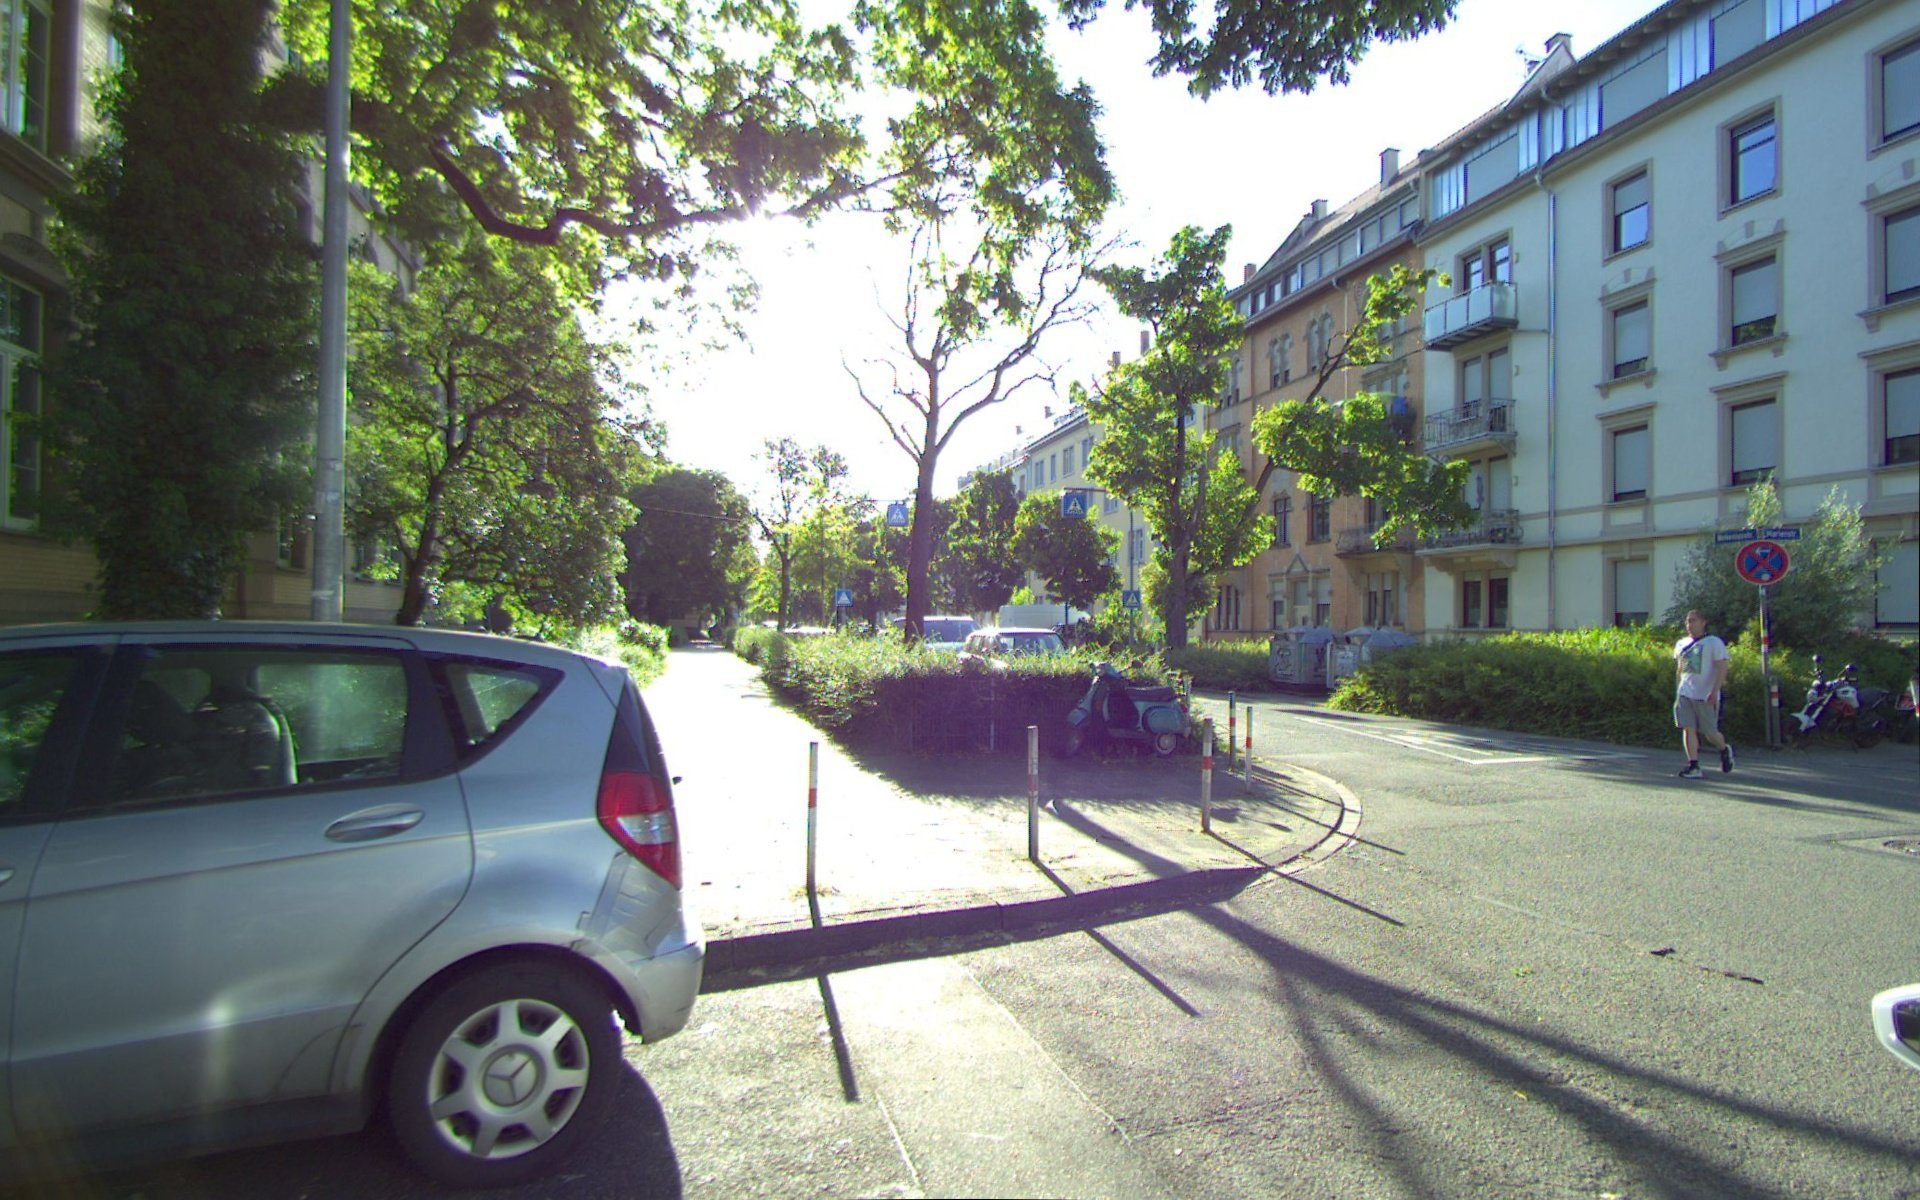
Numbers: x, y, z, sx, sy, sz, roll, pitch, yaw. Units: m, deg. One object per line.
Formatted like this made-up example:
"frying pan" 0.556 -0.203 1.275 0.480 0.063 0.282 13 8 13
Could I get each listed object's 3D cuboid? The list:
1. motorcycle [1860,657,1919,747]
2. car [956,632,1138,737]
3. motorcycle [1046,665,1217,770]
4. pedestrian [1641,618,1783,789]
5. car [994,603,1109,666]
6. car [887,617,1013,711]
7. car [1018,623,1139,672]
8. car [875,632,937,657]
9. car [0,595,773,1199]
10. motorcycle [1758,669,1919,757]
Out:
"motorcycle" 13.978 1.445 14.236 2.005 1.212 0.613 2 -2 -4
"car" 1.377 1.378 17.749 1.854 1.595 4.132 1 -2 -16
"motorcycle" 1.942 1.302 11.368 1.864 1.116 0.543 1 -1 -15
"pedestrian" 8.181 1.087 10.954 0.990 1.769 0.802 1 -2 -17
"car" 4.171 1.595 45.895 4.829 2.741 2.129 1 -2 -17
"car" -0.372 1.496 24.680 1.967 2.040 4.636 -1 -2 -15
"car" 5.091 2.060 43.307 4.826 2.040 1.995 1 -2 -14
"car" -4.181 3.443 77.972 4.380 1.828 1.989 1 -2 -23
"car" -2.700 0.839 3.087 3.898 1.578 1.702 2 -5 -25
"motorcycle" 11.857 1.513 13.545 1.836 1.104 0.640 2 -2 -9
